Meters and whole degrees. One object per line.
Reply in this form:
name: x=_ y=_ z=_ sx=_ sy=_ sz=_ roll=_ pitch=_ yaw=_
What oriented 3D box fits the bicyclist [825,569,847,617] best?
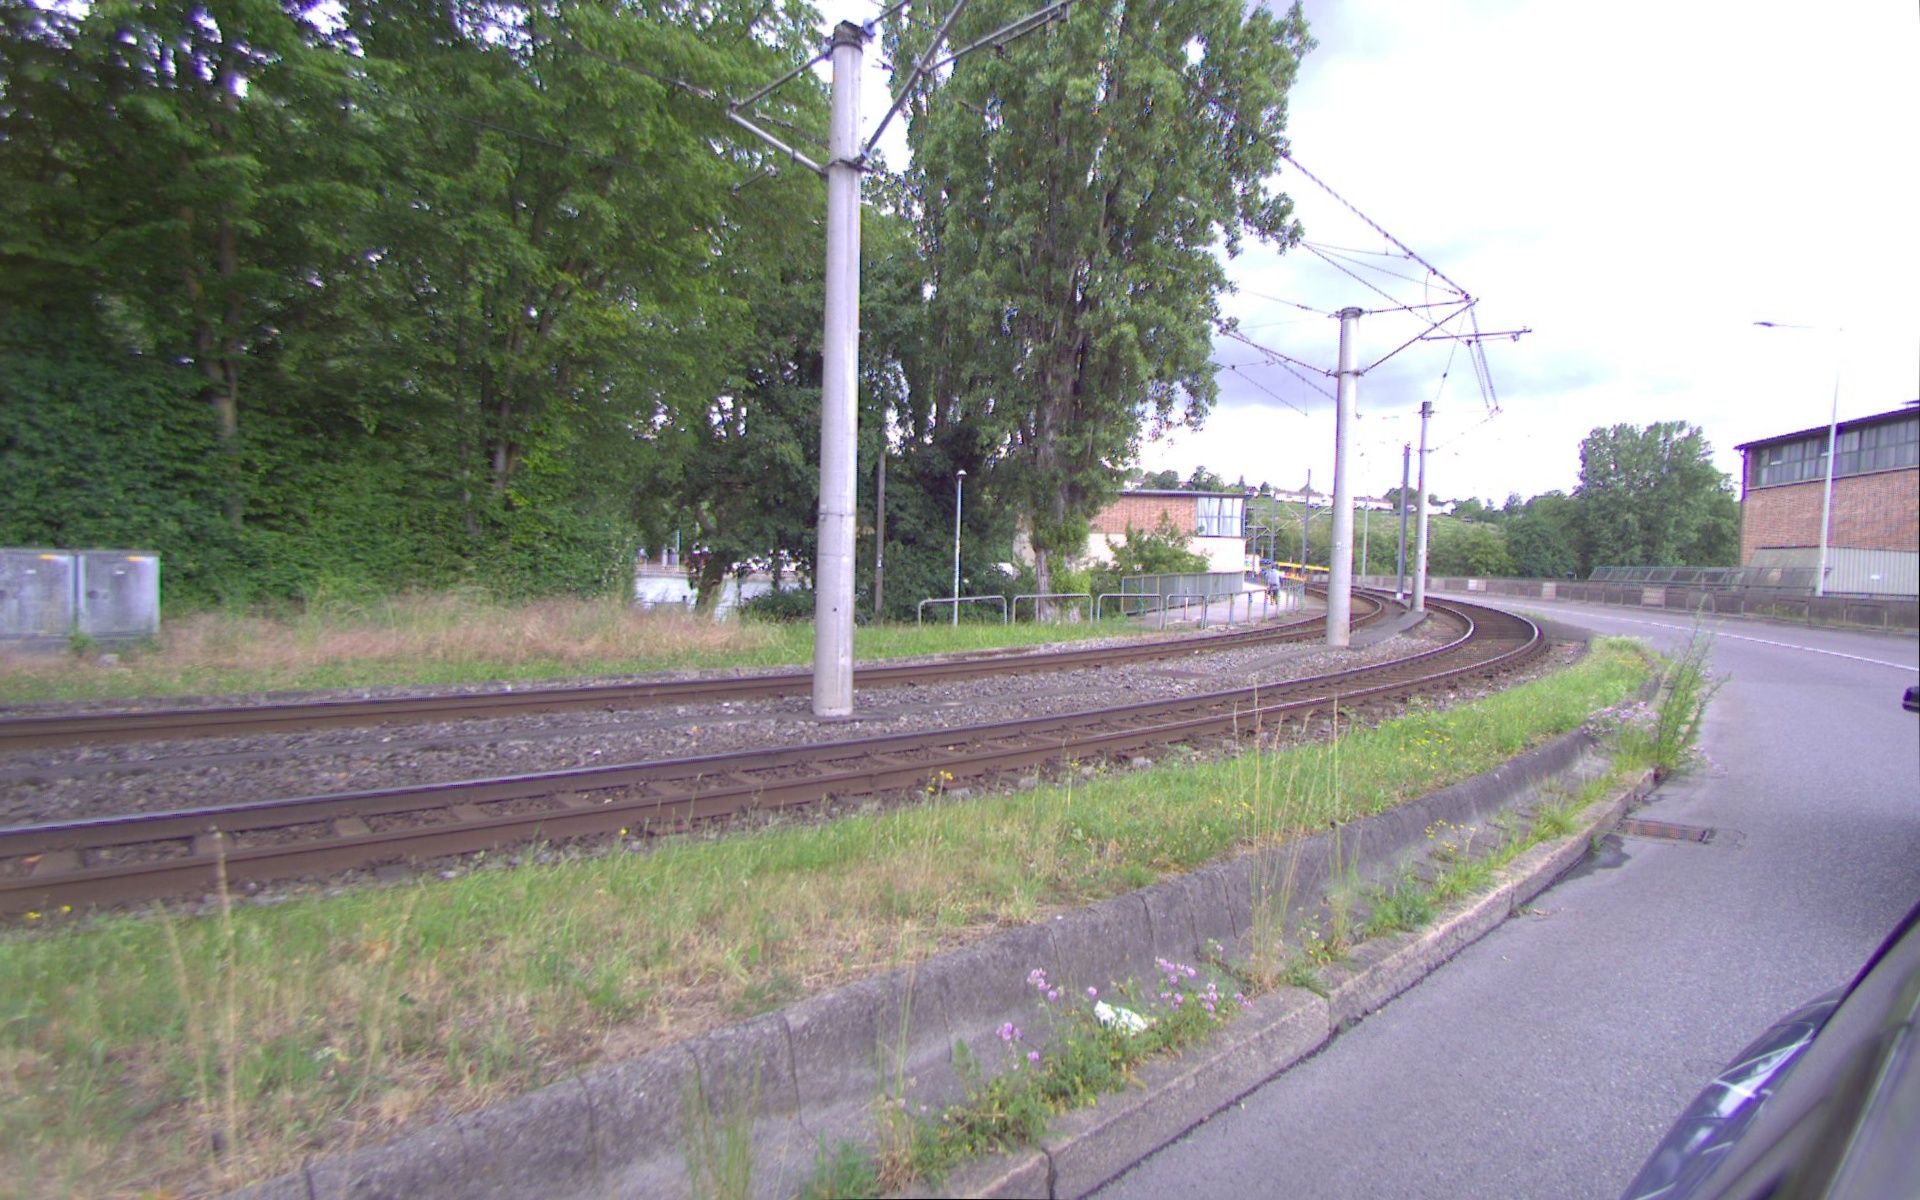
bicyclist: x=-2.867 y=-0.164 z=23.346 sx=0.465 sy=1.097 sz=0.418 roll=1 pitch=1 yaw=-5

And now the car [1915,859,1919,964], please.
car: x=5.966 y=0.667 z=4.747 sx=3.933 sy=1.641 sz=1.859 roll=-1 pitch=3 yaw=-43

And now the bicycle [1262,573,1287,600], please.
bicycle: x=12.822 y=-0.538 z=41.203 sx=0.424 sy=1.063 sz=2.055 roll=1 pitch=1 yaw=33

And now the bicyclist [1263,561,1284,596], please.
bicyclist: x=12.756 y=-0.873 z=41.138 sx=0.591 sy=1.377 sz=0.900 roll=1 pitch=1 yaw=34

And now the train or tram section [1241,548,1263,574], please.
train or tram section: x=46.690 y=-6.266 z=162.213 sx=2.989 sy=3.966 sz=9.404 roll=2 pitch=3 yaw=14

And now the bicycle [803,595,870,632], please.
bicycle: x=-2.846 y=0.307 z=23.354 sx=1.517 sy=0.804 sz=0.348 roll=1 pitch=1 yaw=-4
